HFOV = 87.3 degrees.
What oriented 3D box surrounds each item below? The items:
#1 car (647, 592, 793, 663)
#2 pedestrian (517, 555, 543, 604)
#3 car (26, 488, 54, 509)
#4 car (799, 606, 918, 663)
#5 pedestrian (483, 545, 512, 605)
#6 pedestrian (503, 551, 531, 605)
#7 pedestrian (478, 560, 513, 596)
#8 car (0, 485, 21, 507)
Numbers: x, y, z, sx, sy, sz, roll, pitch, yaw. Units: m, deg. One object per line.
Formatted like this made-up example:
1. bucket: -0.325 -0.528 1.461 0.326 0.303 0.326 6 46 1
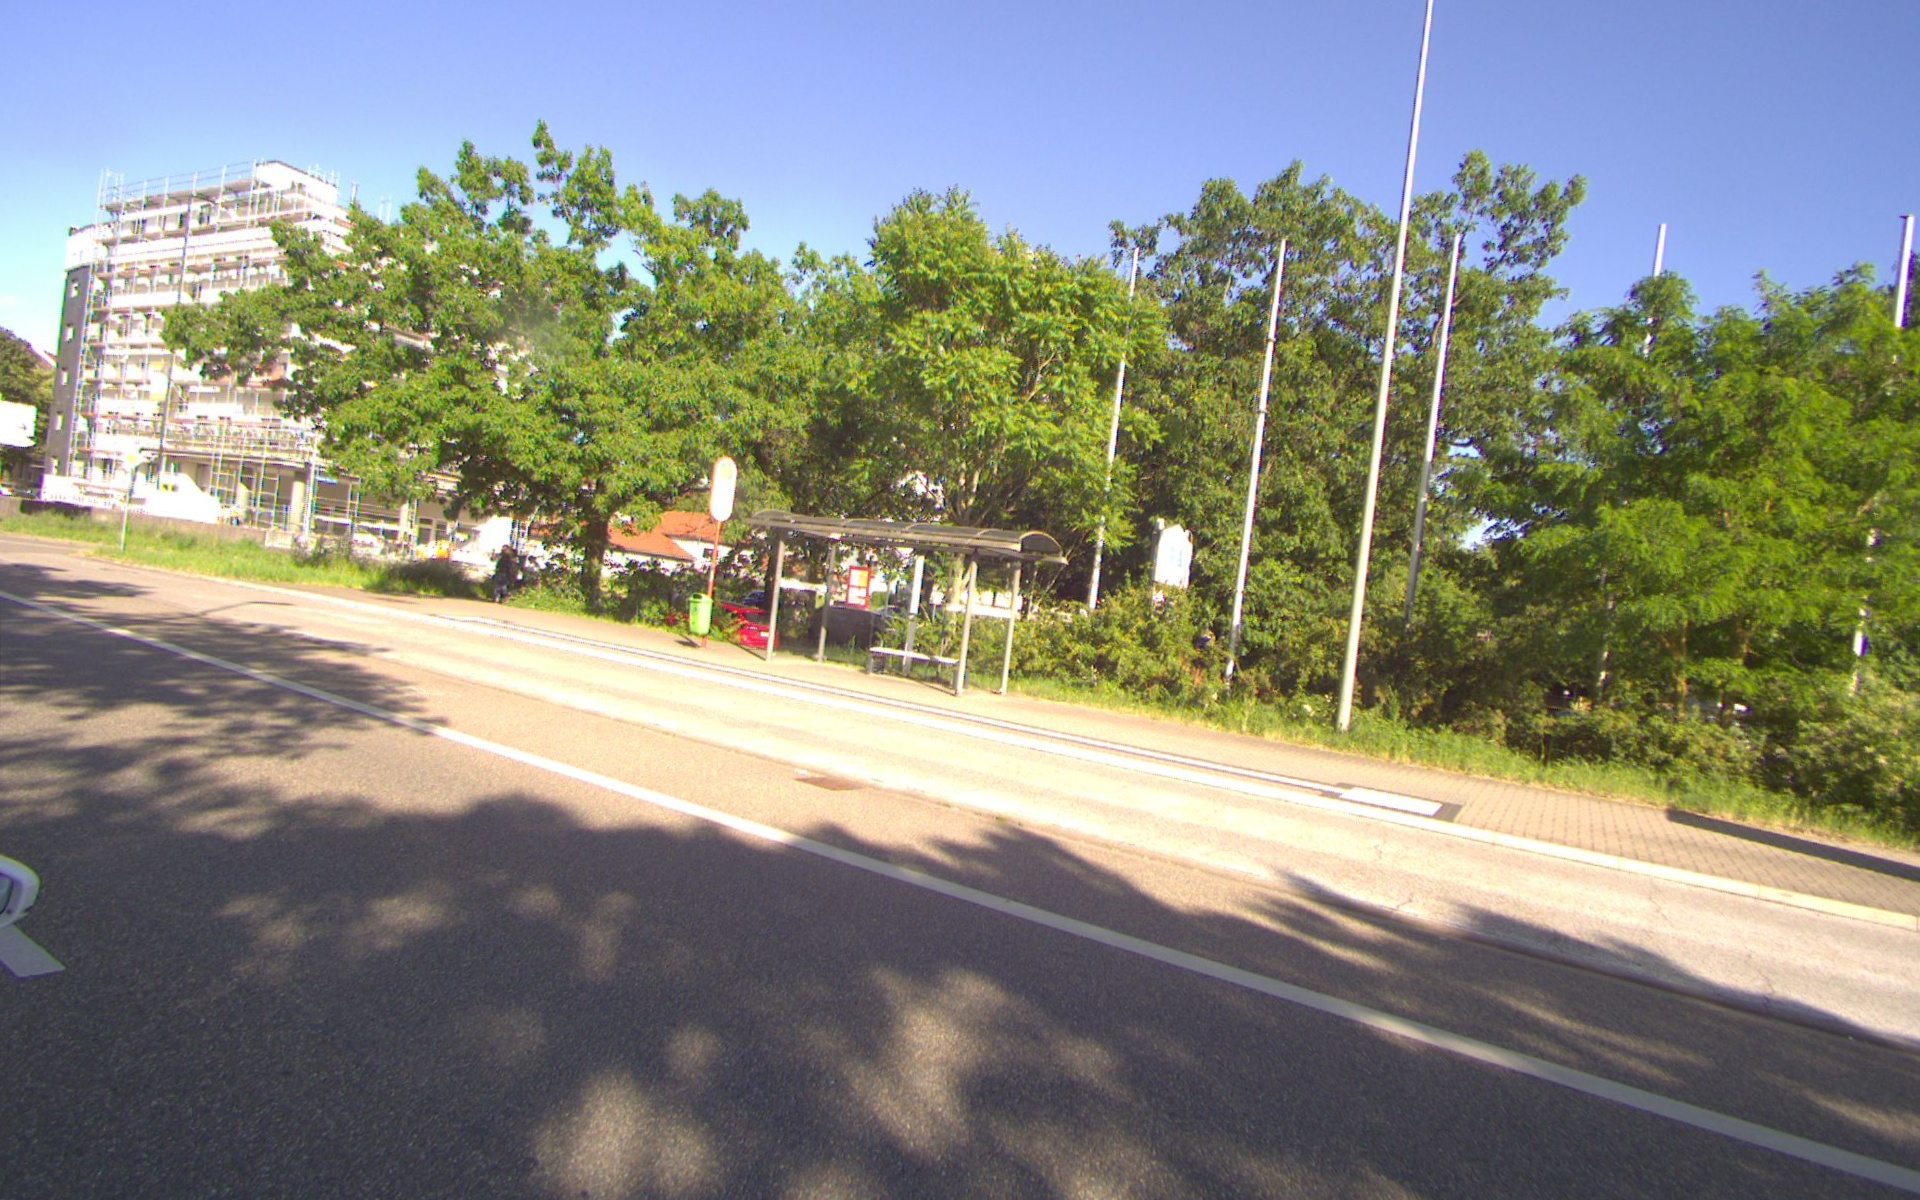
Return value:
1. car: -6.873 0.792 28.744 3.680 1.504 1.755 7 0 28
2. pedestrian: -13.401 -0.635 31.326 0.517 1.465 0.587 7 1 -32
3. car: -78.325 -8.615 85.681 1.521 1.487 3.250 7 0 -40
4. car: -3.591 1.222 35.978 3.674 1.504 1.914 7 0 13
5. pedestrian: -13.061 -0.710 28.394 0.517 1.632 0.587 7 1 -32
6. pedestrian: -12.736 -0.626 28.902 0.517 1.465 0.587 7 1 -32
7. pedestrian: -21.093 -1.007 45.735 0.947 1.465 0.895 7 0 13
8. car: -66.548 -7.272 69.994 1.521 1.330 3.250 7 0 -40
